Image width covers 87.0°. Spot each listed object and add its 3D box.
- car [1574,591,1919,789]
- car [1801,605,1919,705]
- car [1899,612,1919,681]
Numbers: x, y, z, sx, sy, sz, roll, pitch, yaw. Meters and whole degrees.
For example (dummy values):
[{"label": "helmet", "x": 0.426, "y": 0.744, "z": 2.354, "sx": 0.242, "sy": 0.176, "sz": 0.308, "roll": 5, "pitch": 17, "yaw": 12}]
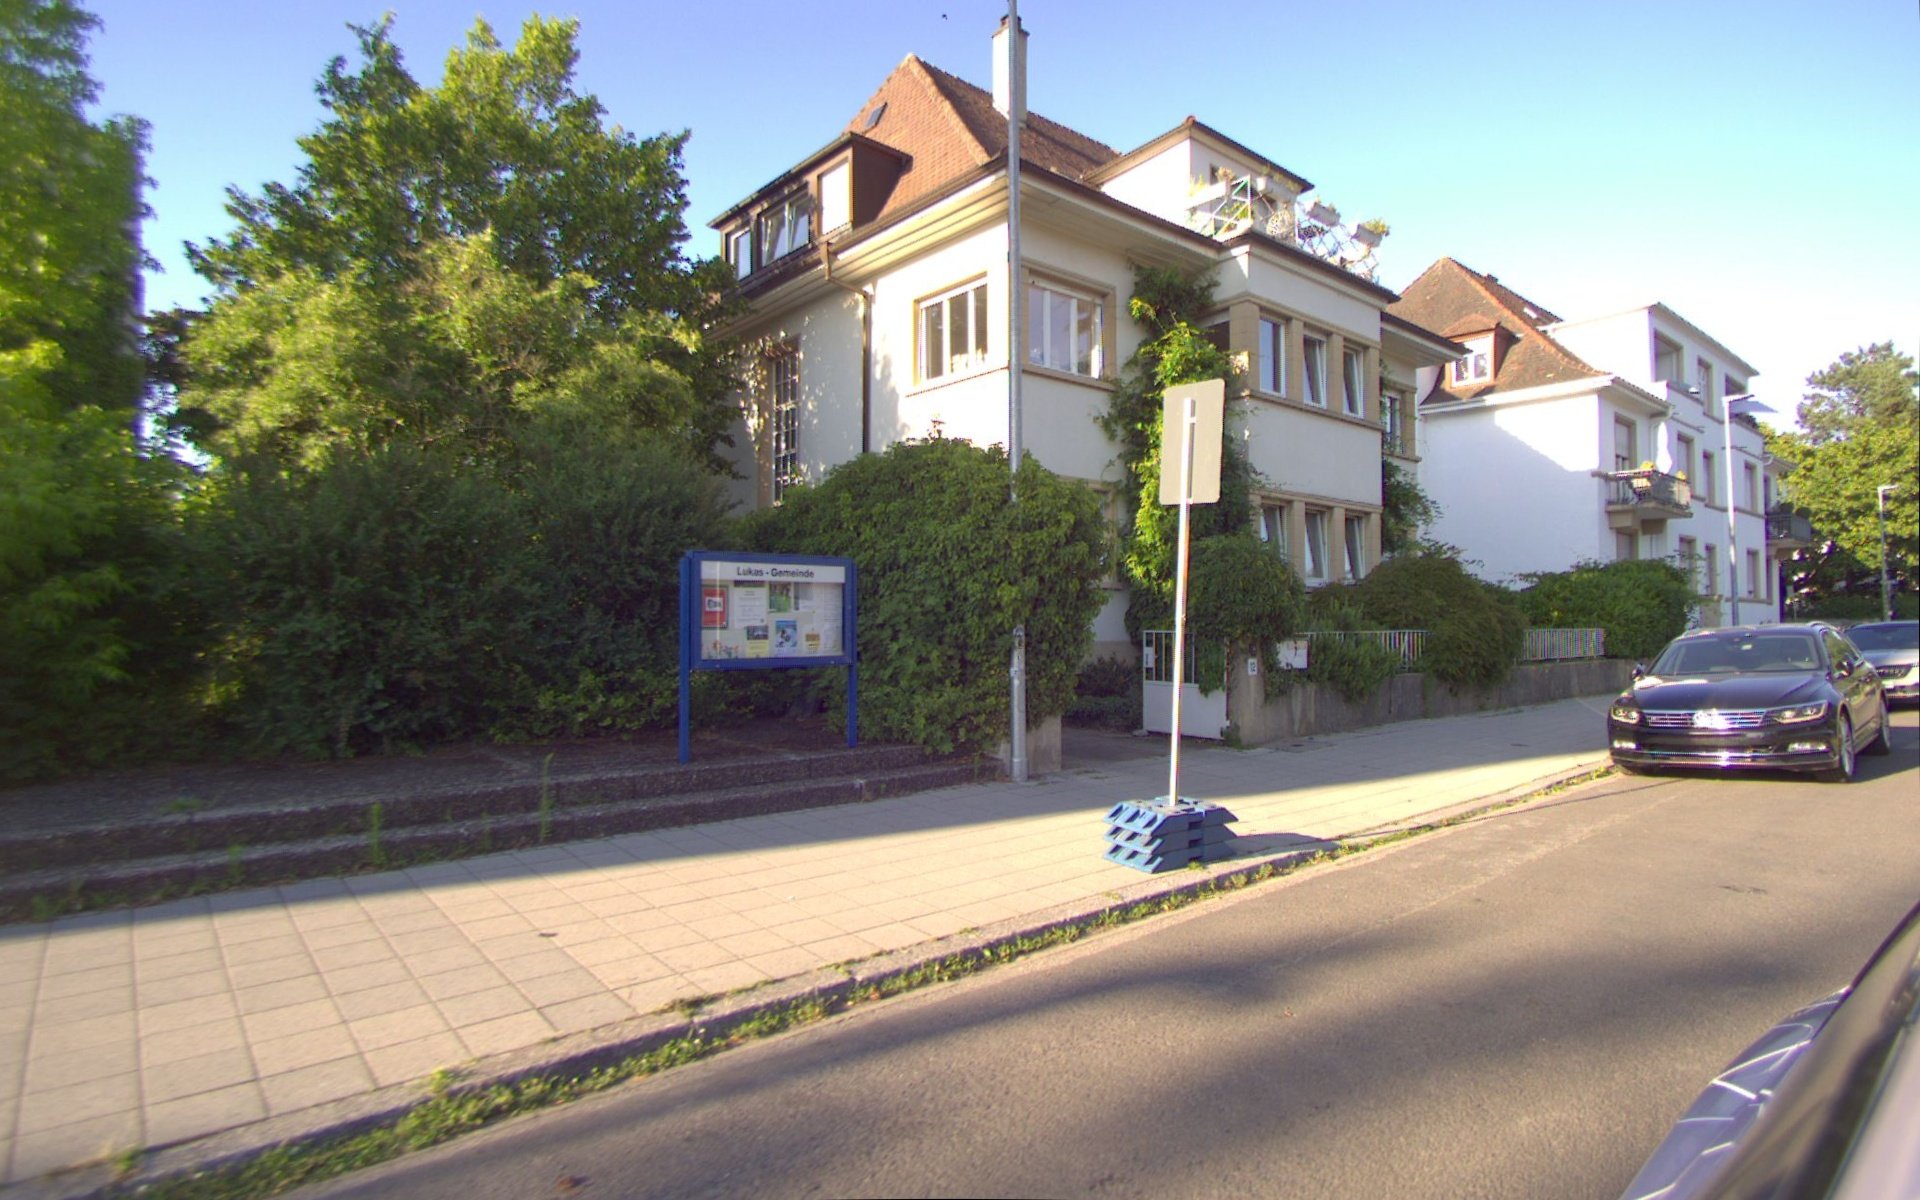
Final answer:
[{"label": "car", "x": 8.558, "y": 0.825, "z": 10.787, "sx": 4.802, "sy": 1.618, "sz": 1.995, "roll": -1, "pitch": -5, "yaw": -42}, {"label": "car", "x": 16.718, "y": 0.902, "z": 17.908, "sx": 4.381, "sy": 1.557, "sz": 1.887, "roll": -1, "pitch": -4, "yaw": -39}, {"label": "car", "x": 24.473, "y": 1.058, "z": 24.471, "sx": 4.484, "sy": 1.580, "sz": 1.914, "roll": 2, "pitch": -7, "yaw": -40}]
